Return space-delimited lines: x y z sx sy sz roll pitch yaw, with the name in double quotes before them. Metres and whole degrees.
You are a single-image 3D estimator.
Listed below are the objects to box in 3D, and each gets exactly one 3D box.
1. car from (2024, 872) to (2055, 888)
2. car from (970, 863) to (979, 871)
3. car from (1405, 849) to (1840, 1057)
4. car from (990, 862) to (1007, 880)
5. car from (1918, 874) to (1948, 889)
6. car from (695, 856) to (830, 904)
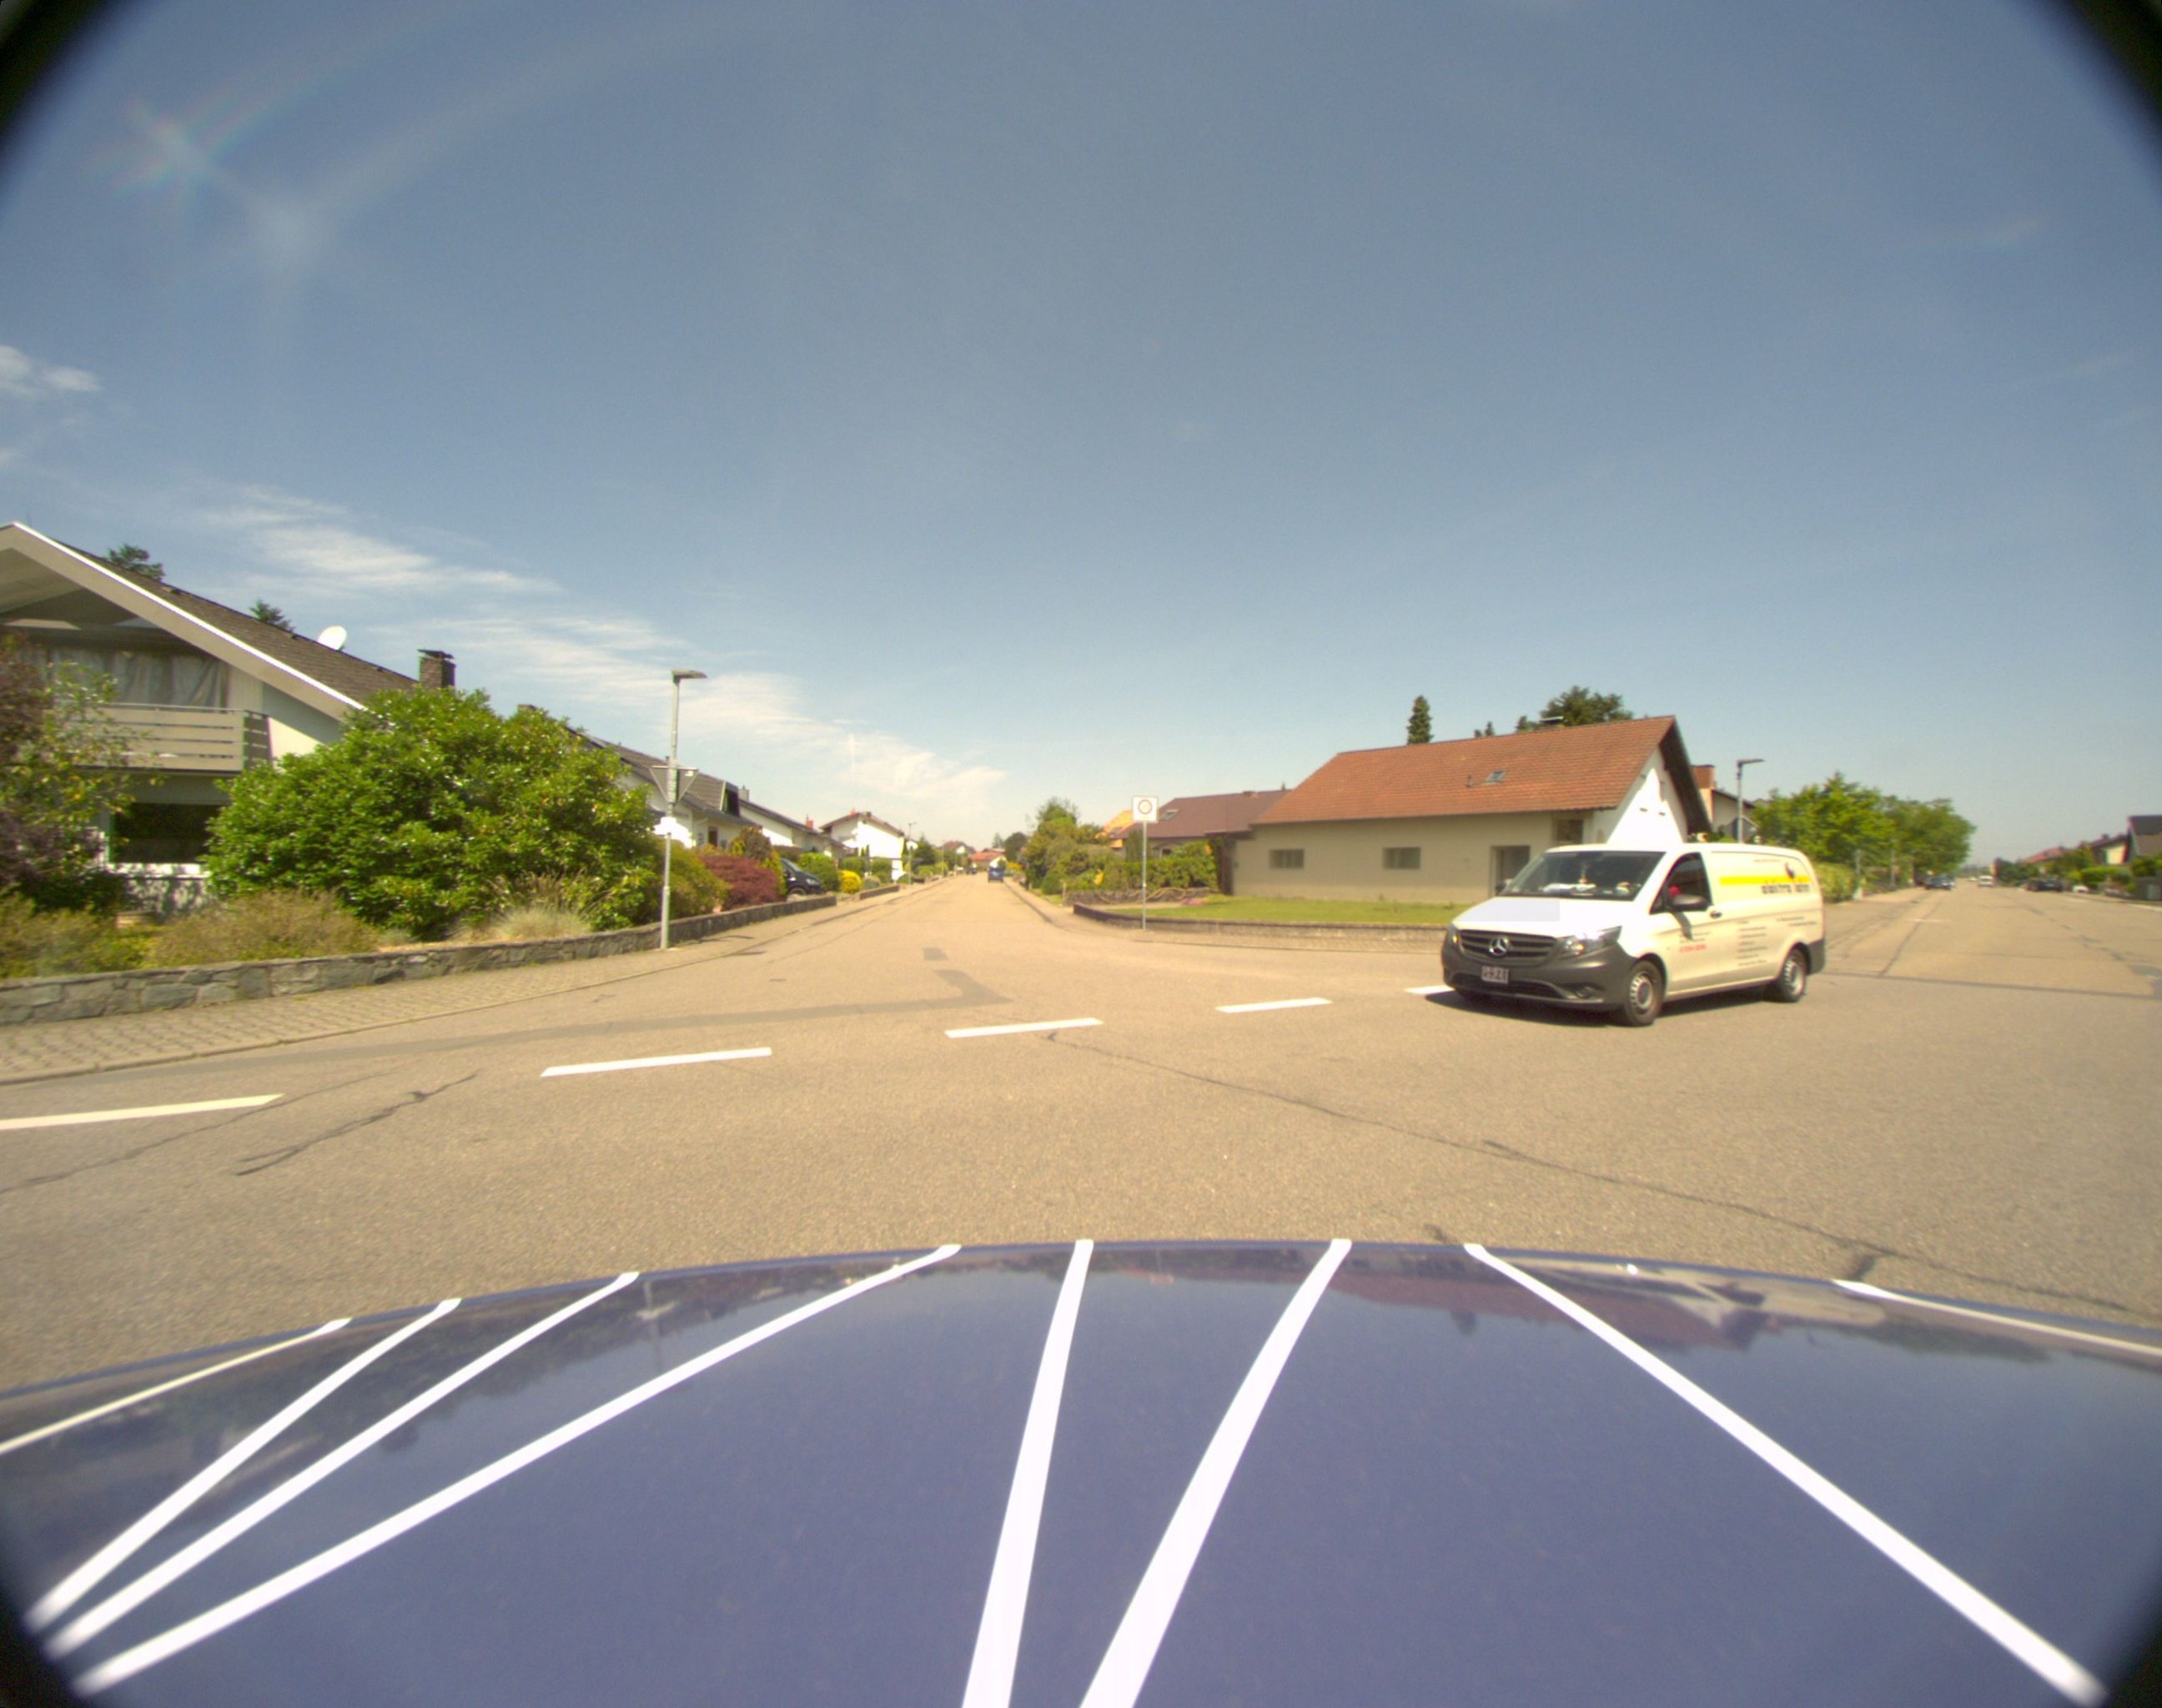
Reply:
"car" 100.634 2.735 79.746 4.008 1.586 1.994 1 0 -38
"car" -24.738 3.078 176.891 1.877 1.914 3.996 0 0 -11
"car" 6.349 0.895 8.805 5.076 1.845 2.015 0 0 -28
"car" -9.202 1.893 84.798 1.828 1.870 3.998 0 0 -6
"car" 94.267 3.028 84.079 4.008 1.586 1.994 0 0 -38
"car" -13.207 1.071 31.862 4.969 1.904 1.926 1 0 -14
